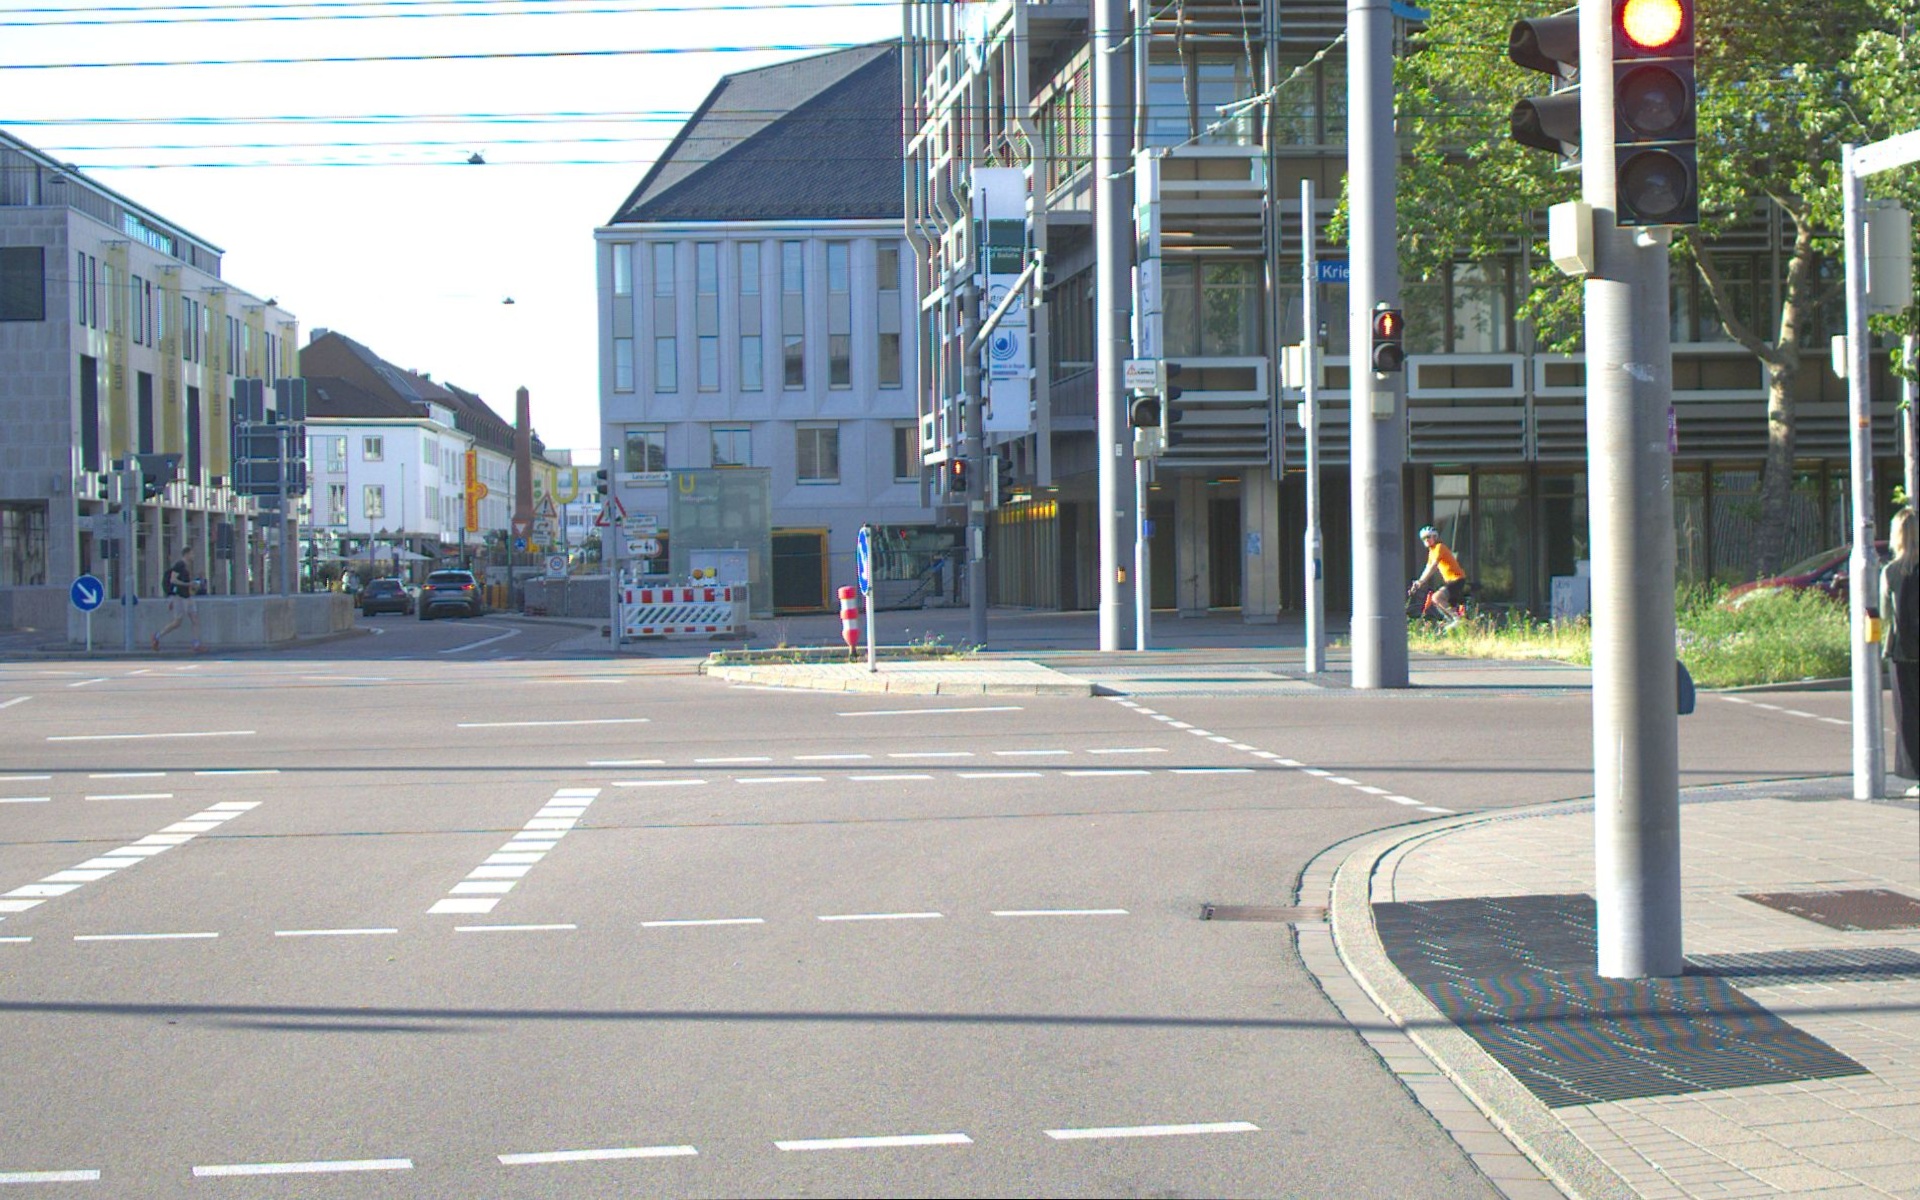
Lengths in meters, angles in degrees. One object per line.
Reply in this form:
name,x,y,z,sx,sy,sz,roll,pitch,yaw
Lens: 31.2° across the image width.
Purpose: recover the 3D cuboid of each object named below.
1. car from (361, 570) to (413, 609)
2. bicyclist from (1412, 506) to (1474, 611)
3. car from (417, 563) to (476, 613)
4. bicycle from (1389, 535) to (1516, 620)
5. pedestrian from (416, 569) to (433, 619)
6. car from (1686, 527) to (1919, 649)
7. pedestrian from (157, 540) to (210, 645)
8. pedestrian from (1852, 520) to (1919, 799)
car,-21.889,-0.412,131.495,1.785,1.446,4.001,1,1,-7
bicyclist,6.628,-0.566,47.156,0.711,1.432,0.497,1,0,-9
car,-16.142,-0.395,108.206,1.737,1.525,3.856,1,1,-7
bicycle,6.756,-0.308,47.179,1.644,1.150,0.497,1,0,-9
pedestrian,-18.212,-0.214,116.906,0.521,1.674,0.583,1,1,-7
car,11.908,-0.178,46.152,3.884,1.579,1.660,-1,1,-7
pedestrian,-14.107,-0.139,62.460,0.642,1.883,0.790,1,0,14
pedestrian,5.338,0.317,18.675,0.788,1.487,0.644,1,0,-1
